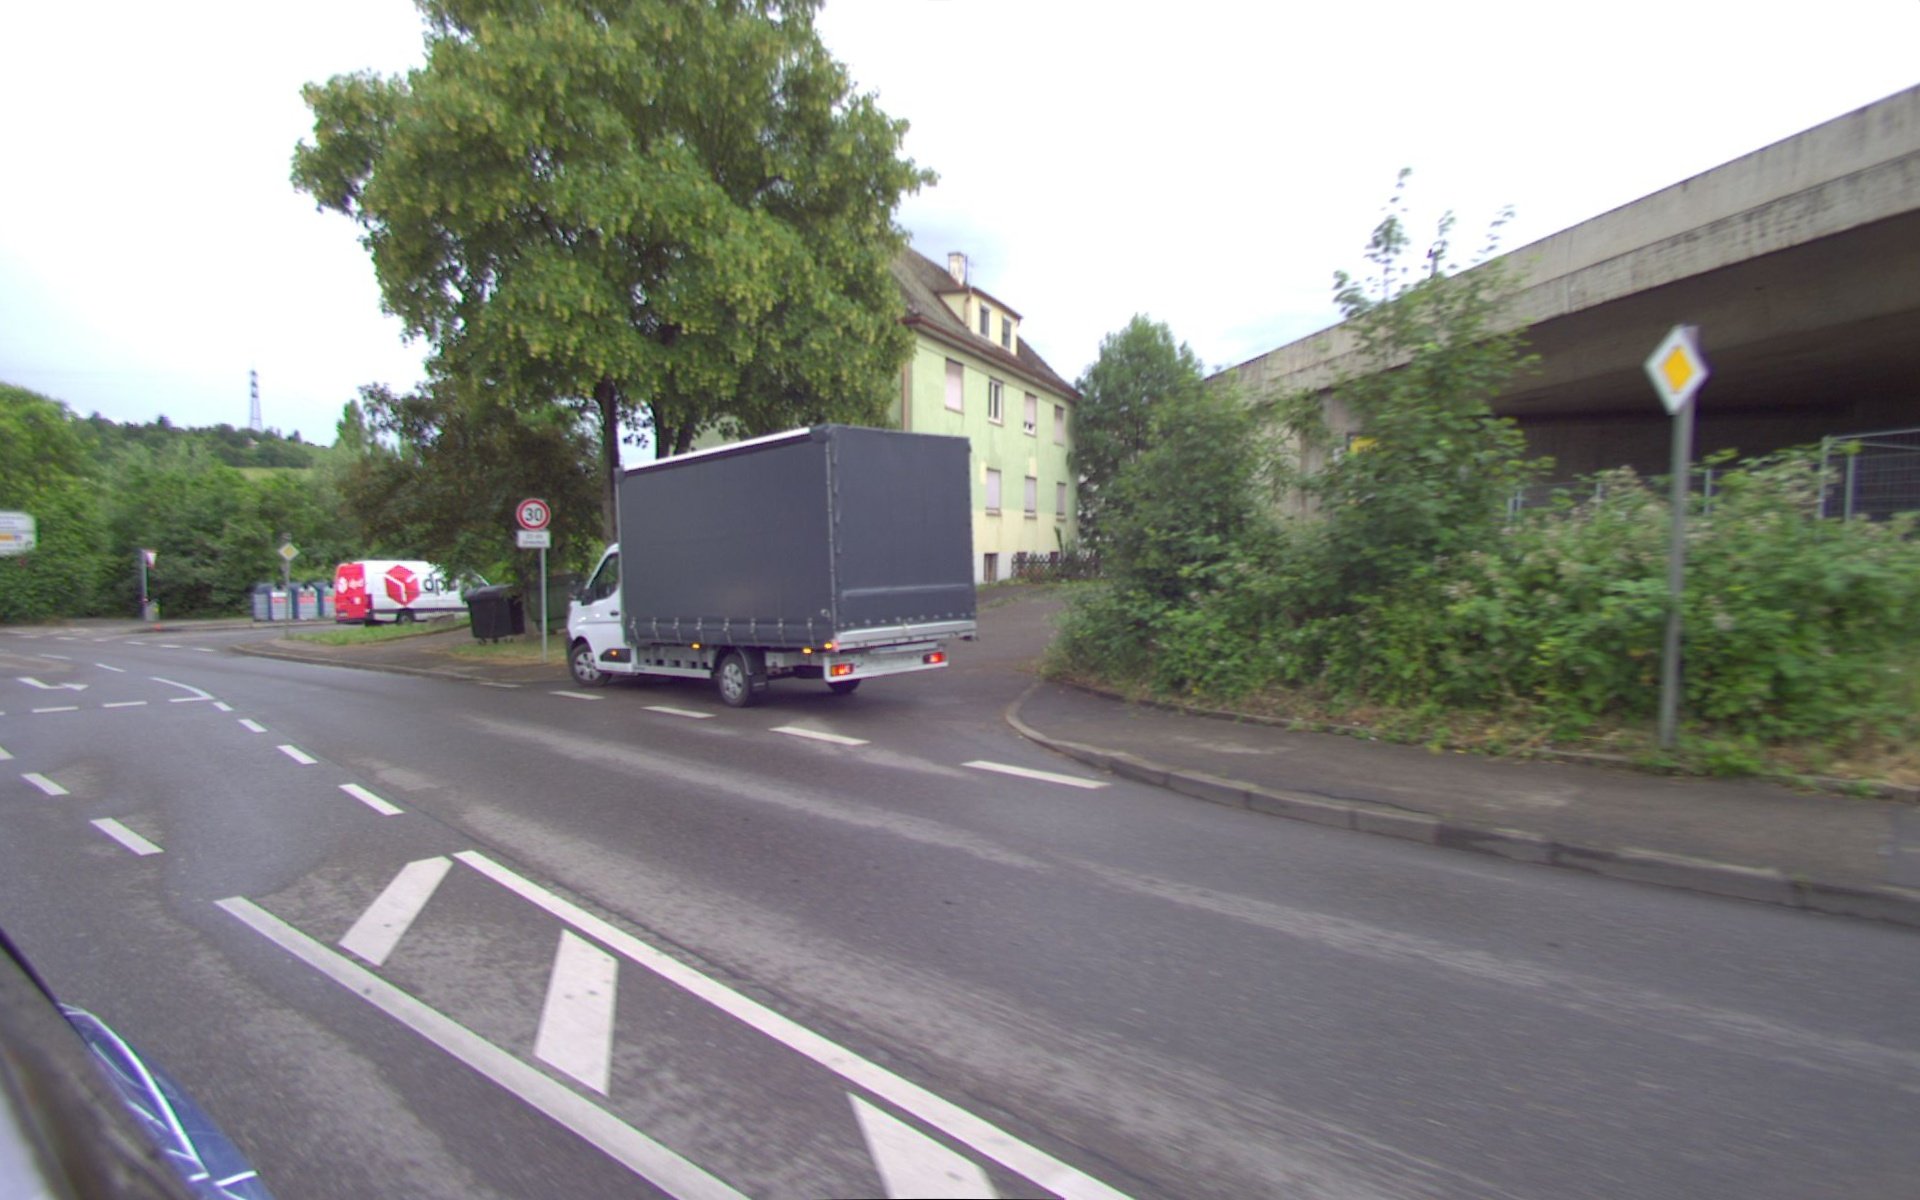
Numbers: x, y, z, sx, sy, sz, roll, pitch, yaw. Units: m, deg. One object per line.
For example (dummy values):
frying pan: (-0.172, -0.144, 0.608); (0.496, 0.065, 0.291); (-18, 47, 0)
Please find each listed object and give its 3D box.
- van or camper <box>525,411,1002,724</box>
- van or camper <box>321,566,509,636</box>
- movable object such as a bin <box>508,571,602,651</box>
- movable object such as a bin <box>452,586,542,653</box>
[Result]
van or camper: (-3.215, -0.366, 14.518); (7.763, 3.359, 2.669); (0, 1, 44)
van or camper: (-21.416, -0.058, 40.223); (2.209, 2.541, 6.647); (-1, 1, 23)
movable object such as a bin: (-9.801, 0.236, 24.576); (1.435, 1.774, 1.576); (-4, 1, 5)
movable object such as a bin: (-11.251, 0.450, 24.675); (1.360, 1.451, 1.471); (-4, 1, 5)
